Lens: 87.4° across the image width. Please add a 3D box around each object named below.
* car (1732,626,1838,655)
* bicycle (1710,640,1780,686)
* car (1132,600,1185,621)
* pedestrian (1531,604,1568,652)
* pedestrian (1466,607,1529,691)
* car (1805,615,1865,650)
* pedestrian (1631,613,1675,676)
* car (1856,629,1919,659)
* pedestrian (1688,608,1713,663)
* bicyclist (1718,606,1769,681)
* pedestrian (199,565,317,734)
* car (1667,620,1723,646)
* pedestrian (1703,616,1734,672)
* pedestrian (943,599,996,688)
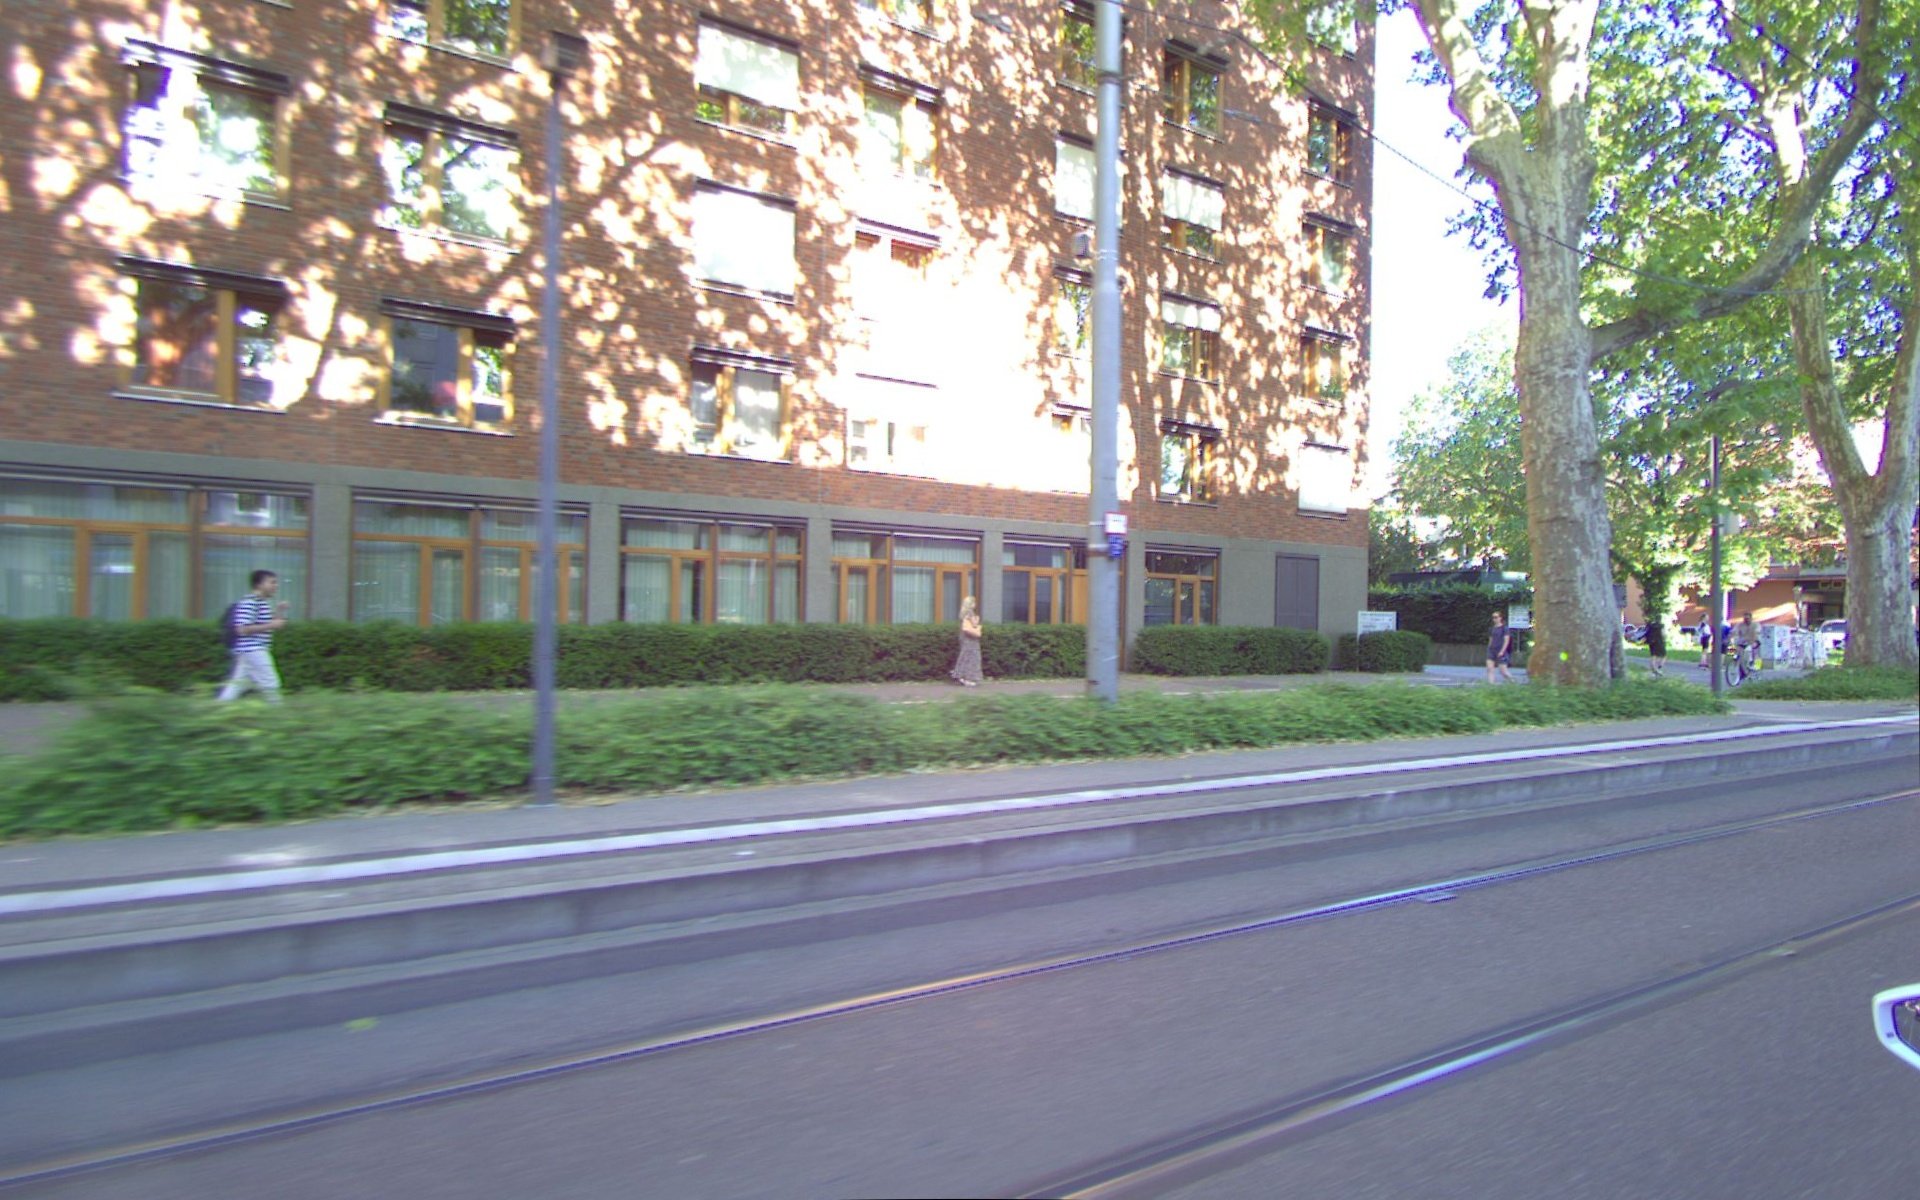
[{"bbox_3d":[47.716,2.305,58.183,1.807,1.469,4.434,2,0,-37],"label":"car"},{"bbox_3d":[19.611,1.555,25.078,1.817,1.078,0.712,2,0,-29],"label":"bicycle"},{"bbox_3d":[16.864,0.908,85.295,4.050,1.639,1.885,2,0,-25],"label":"car"},{"bbox_3d":[22.323,1.063,38.044,0.897,1.760,0.846,2,0,9],"label":"pedestrian"},{"bbox_3d":[11.278,1.010,21.078,0.957,1.694,0.735,1,0,-29],"label":"pedestrian"},{"bbox_3d":[54.172,2.014,62.150,4.879,2.030,1.977,2,0,-40],"label":"car"},{"bbox_3d":[18.972,1.215,27.505,0.770,1.695,0.706,2,0,-30],"label":"pedestrian"},{"bbox_3d":[51.120,2.373,53.678,1.842,1.509,4.497,2,0,-35],"label":"car"},{"bbox_3d":[23.670,1.126,32.111,0.523,1.728,0.591,2,0,29],"label":"pedestrian"},{"bbox_3d":[19.528,1.074,25.030,0.828,1.811,0.697,2,0,-28],"label":"bicyclist"},{"bbox_3d":[-7.714,0.526,11.084,0.961,1.767,0.760,2,0,-30],"label":"pedestrian"},{"bbox_3d":[50.540,2.274,69.079,4.443,1.639,1.930,2,0,-38],"label":"car"},{"bbox_3d":[23.457,1.344,31.078,0.685,1.681,0.561,2,0,34],"label":"pedestrian"},{"bbox_3d":[0.175,0.789,18.486,0.707,1.594,0.661,2,0,-30],"label":"pedestrian"}]
